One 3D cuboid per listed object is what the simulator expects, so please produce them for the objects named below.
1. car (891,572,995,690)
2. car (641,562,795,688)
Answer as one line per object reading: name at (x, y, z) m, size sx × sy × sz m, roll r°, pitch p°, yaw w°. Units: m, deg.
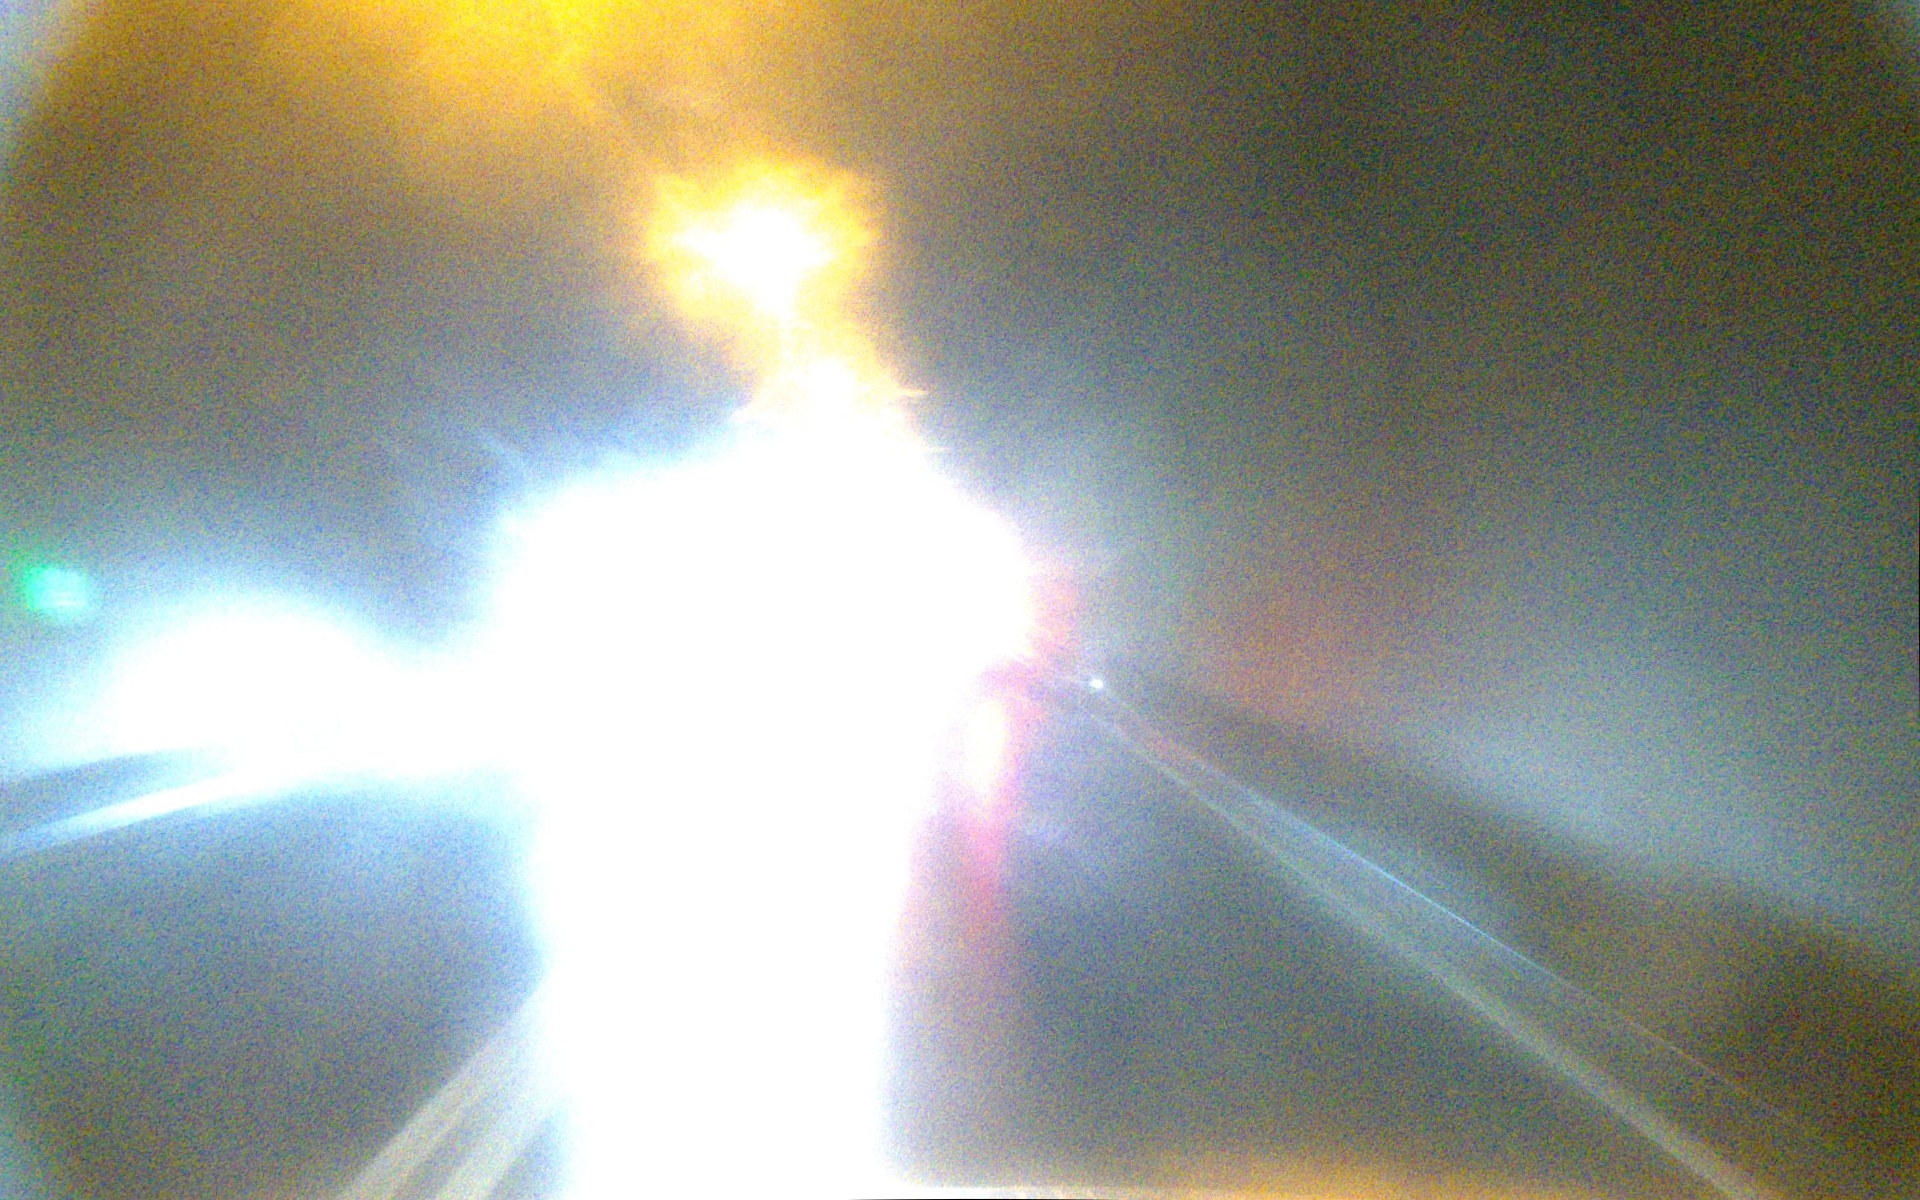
car at (-0.279, 0.453, 28.225) m, size 1.602 × 1.788 × 4.146 m, roll -1°, pitch 1°, yaw 0°
car at (-3.414, 0.285, 24.025) m, size 1.602 × 1.630 × 4.146 m, roll -1°, pitch 1°, yaw 0°
